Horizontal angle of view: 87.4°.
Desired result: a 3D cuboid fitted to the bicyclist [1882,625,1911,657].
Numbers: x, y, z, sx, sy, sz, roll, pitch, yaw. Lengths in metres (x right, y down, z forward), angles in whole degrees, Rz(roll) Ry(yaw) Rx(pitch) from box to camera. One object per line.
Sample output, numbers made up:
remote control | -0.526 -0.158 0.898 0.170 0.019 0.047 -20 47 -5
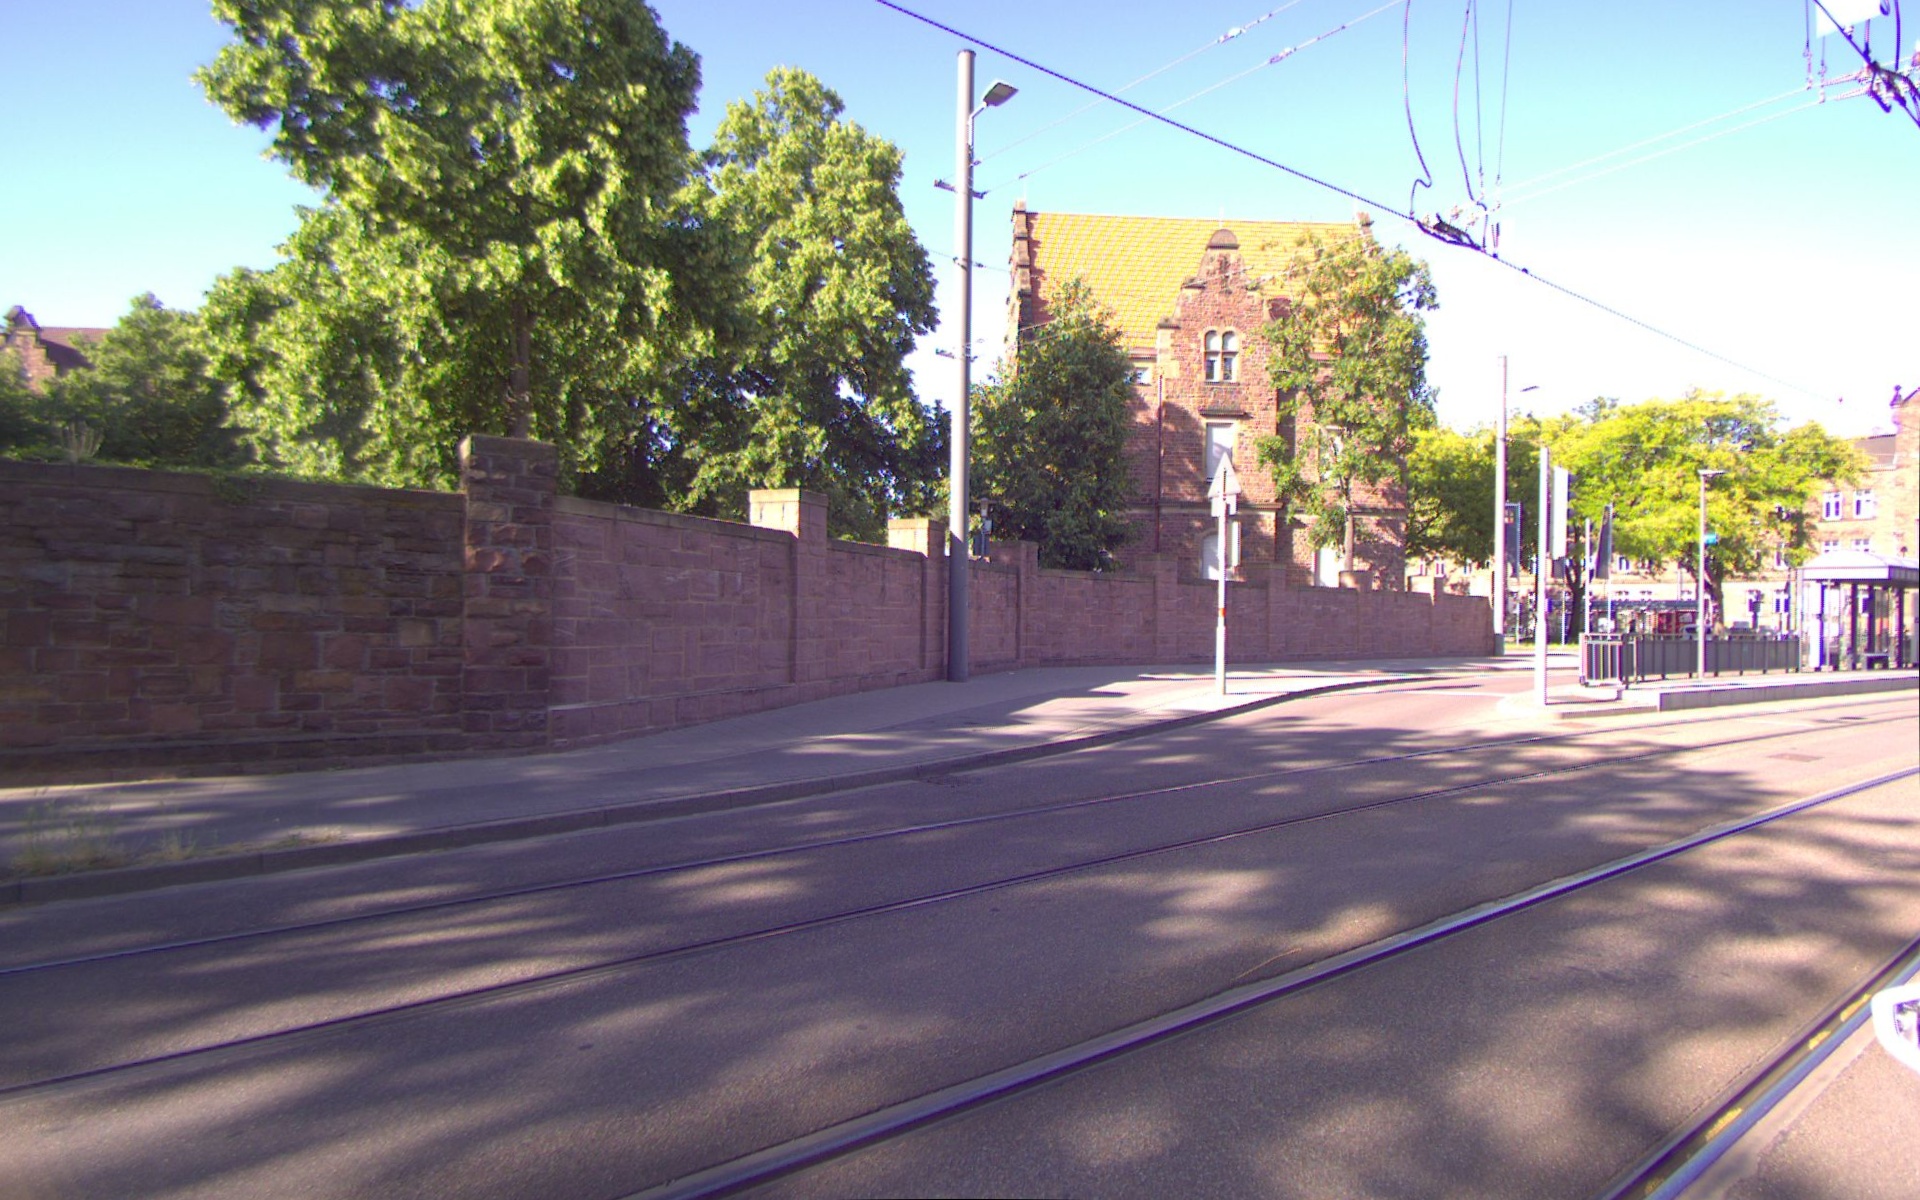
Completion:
bicyclist | 44.177 1.952 47.365 1.137 1.478 0.650 1 0 -27
